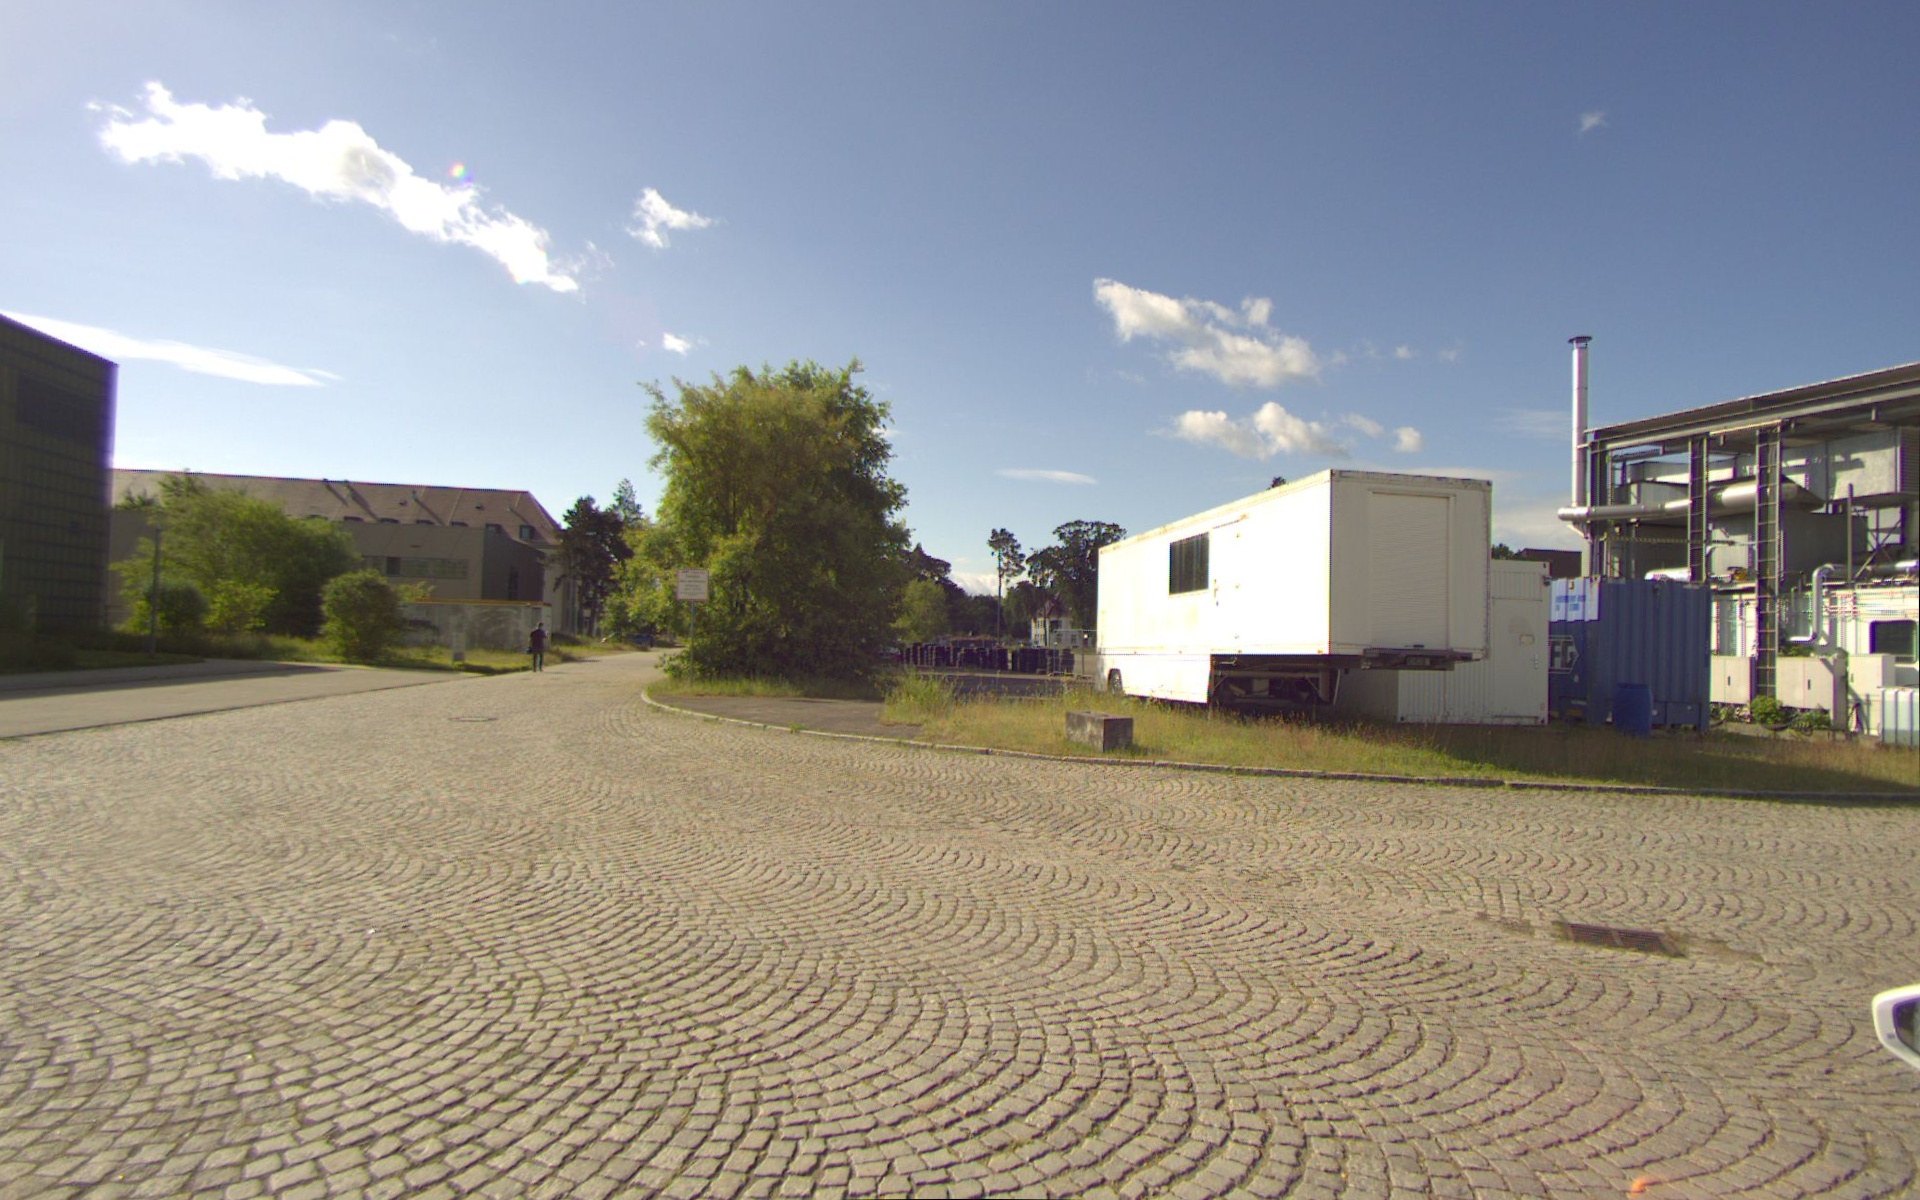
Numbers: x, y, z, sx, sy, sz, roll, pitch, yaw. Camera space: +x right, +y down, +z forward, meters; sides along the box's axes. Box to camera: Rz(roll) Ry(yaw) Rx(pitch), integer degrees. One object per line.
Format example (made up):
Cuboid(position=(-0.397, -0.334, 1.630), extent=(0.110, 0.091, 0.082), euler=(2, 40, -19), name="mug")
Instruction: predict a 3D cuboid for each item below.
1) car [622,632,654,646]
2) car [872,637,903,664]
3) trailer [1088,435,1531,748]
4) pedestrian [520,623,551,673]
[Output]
Cuboid(position=(-31.834, 3.822, 99.340), extent=(2.868, 1.276, 1.282), euler=(2, -2, -21), name="car")
Cuboid(position=(-4.021, 2.776, 55.385), extent=(1.517, 1.425, 3.575), euler=(2, -2, -6), name="car")
Cuboid(position=(5.289, 0.110, 18.403), extent=(2.731, 3.962, 10.869), euler=(2, -2, -10), name="trailer")
Cuboid(position=(-15.768, 1.778, 37.344), extent=(0.784, 1.804, 1.066), euler=(3, -3, -13), name="pedestrian")
